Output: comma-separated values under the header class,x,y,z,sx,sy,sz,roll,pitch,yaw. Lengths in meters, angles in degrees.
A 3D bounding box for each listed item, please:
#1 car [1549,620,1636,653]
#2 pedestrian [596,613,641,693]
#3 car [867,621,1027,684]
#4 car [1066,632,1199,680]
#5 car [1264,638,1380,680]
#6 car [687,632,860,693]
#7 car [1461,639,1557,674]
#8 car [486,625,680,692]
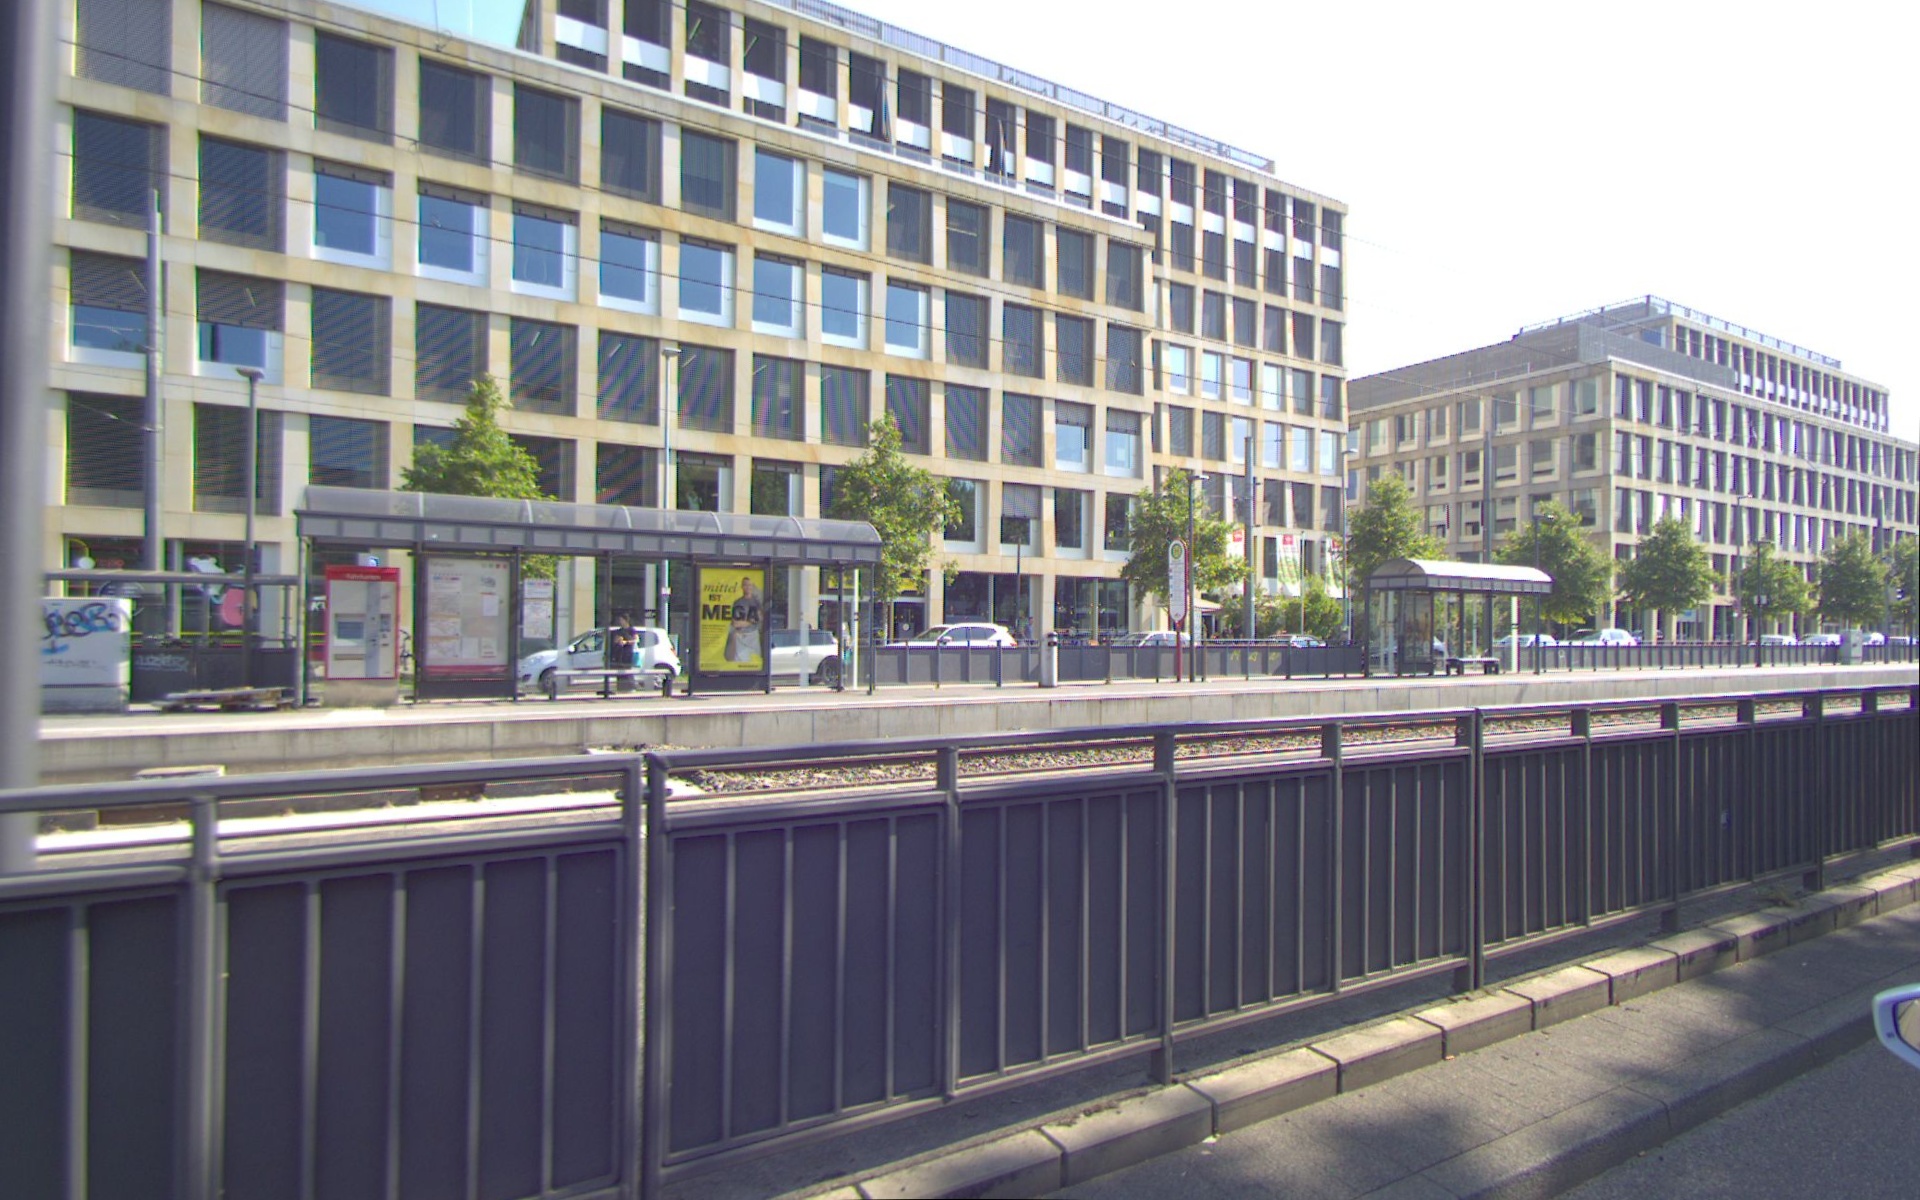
class,x,y,z,sx,sy,sz,roll,pitch,yaw
car,29.075,1.683,46.162,4.321,1.426,1.675,1,-2,-32
pedestrian,-7.427,1.141,21.820,0.867,1.698,0.835,1,-2,-22
car,-0.341,1.460,28.446,4.274,1.647,1.779,1,-2,-33
car,5.440,1.715,31.510,3.955,1.426,1.780,1,-2,-32
car,13.200,2.110,36.541,4.324,1.426,1.675,1,-2,-32
car,-4.737,1.546,25.657,3.955,1.422,1.892,1,-2,-32
car,23.333,2.357,42.653,4.324,1.426,1.675,1,-2,-32
car,-8.733,1.315,23.362,3.955,1.422,1.892,1,-2,-32
